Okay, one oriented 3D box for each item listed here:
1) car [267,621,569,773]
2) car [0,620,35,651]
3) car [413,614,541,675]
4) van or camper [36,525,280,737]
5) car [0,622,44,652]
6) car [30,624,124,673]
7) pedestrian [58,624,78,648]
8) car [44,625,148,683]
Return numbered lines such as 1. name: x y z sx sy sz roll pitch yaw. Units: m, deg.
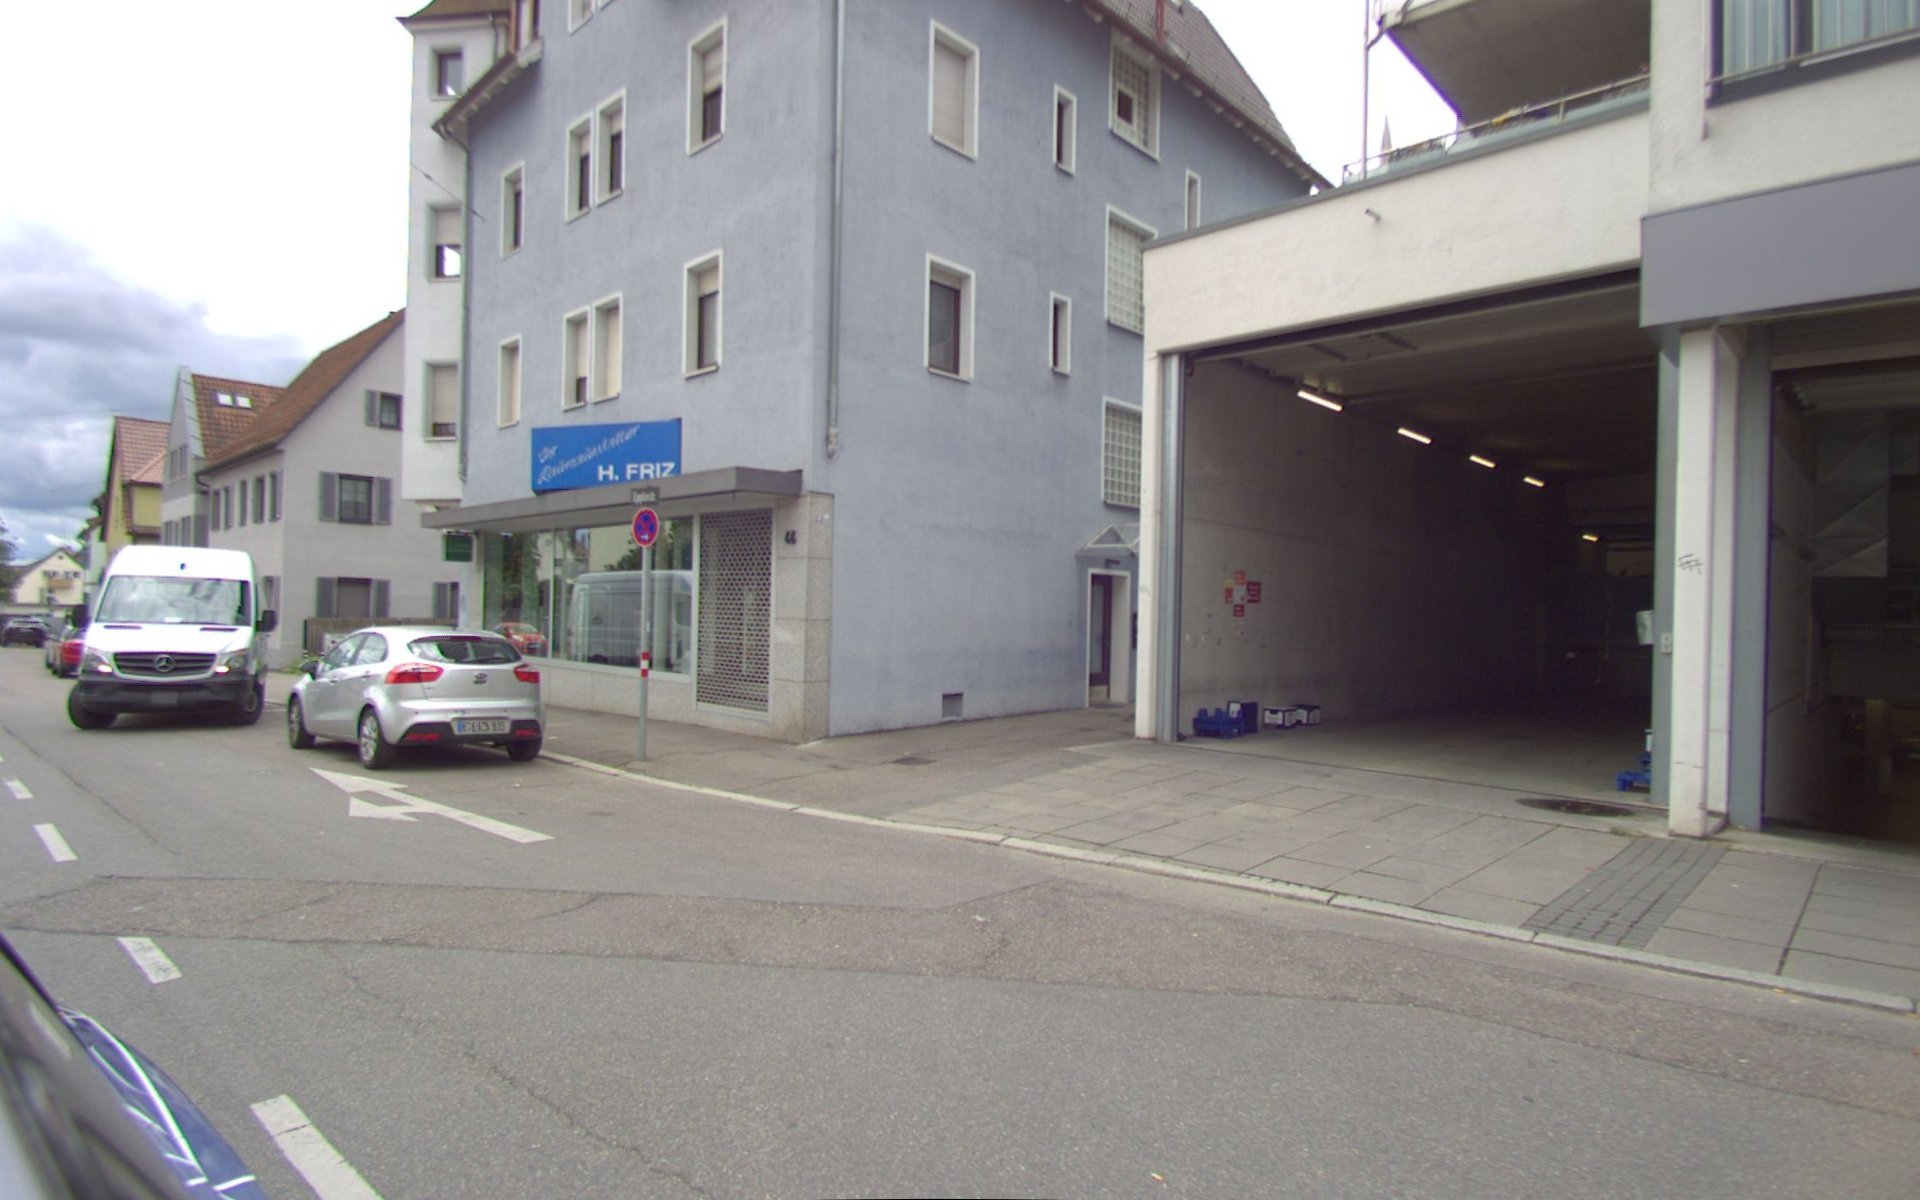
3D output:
1. car: -6.269 0.972 11.525 3.999 1.422 1.778 -1 -3 42
2. car: -58.097 2.157 61.758 4.353 1.863 2.083 -2 -3 44
3. car: -13.874 1.242 28.946 1.971 1.564 4.418 -1 -1 -45
4. van or camper: -12.071 0.478 15.736 2.287 2.627 6.225 2 -2 -33
5. car: -53.104 2.084 57.165 4.353 1.580 1.694 -2 -3 44
6. car: -28.582 1.551 32.706 4.352 1.485 1.758 -2 -5 43
7. pedestrian: -52.965 2.128 60.062 0.551 1.386 0.820 -2 -3 45
8. car: -24.429 1.516 28.560 1.837 1.485 4.355 5 -5 -44
